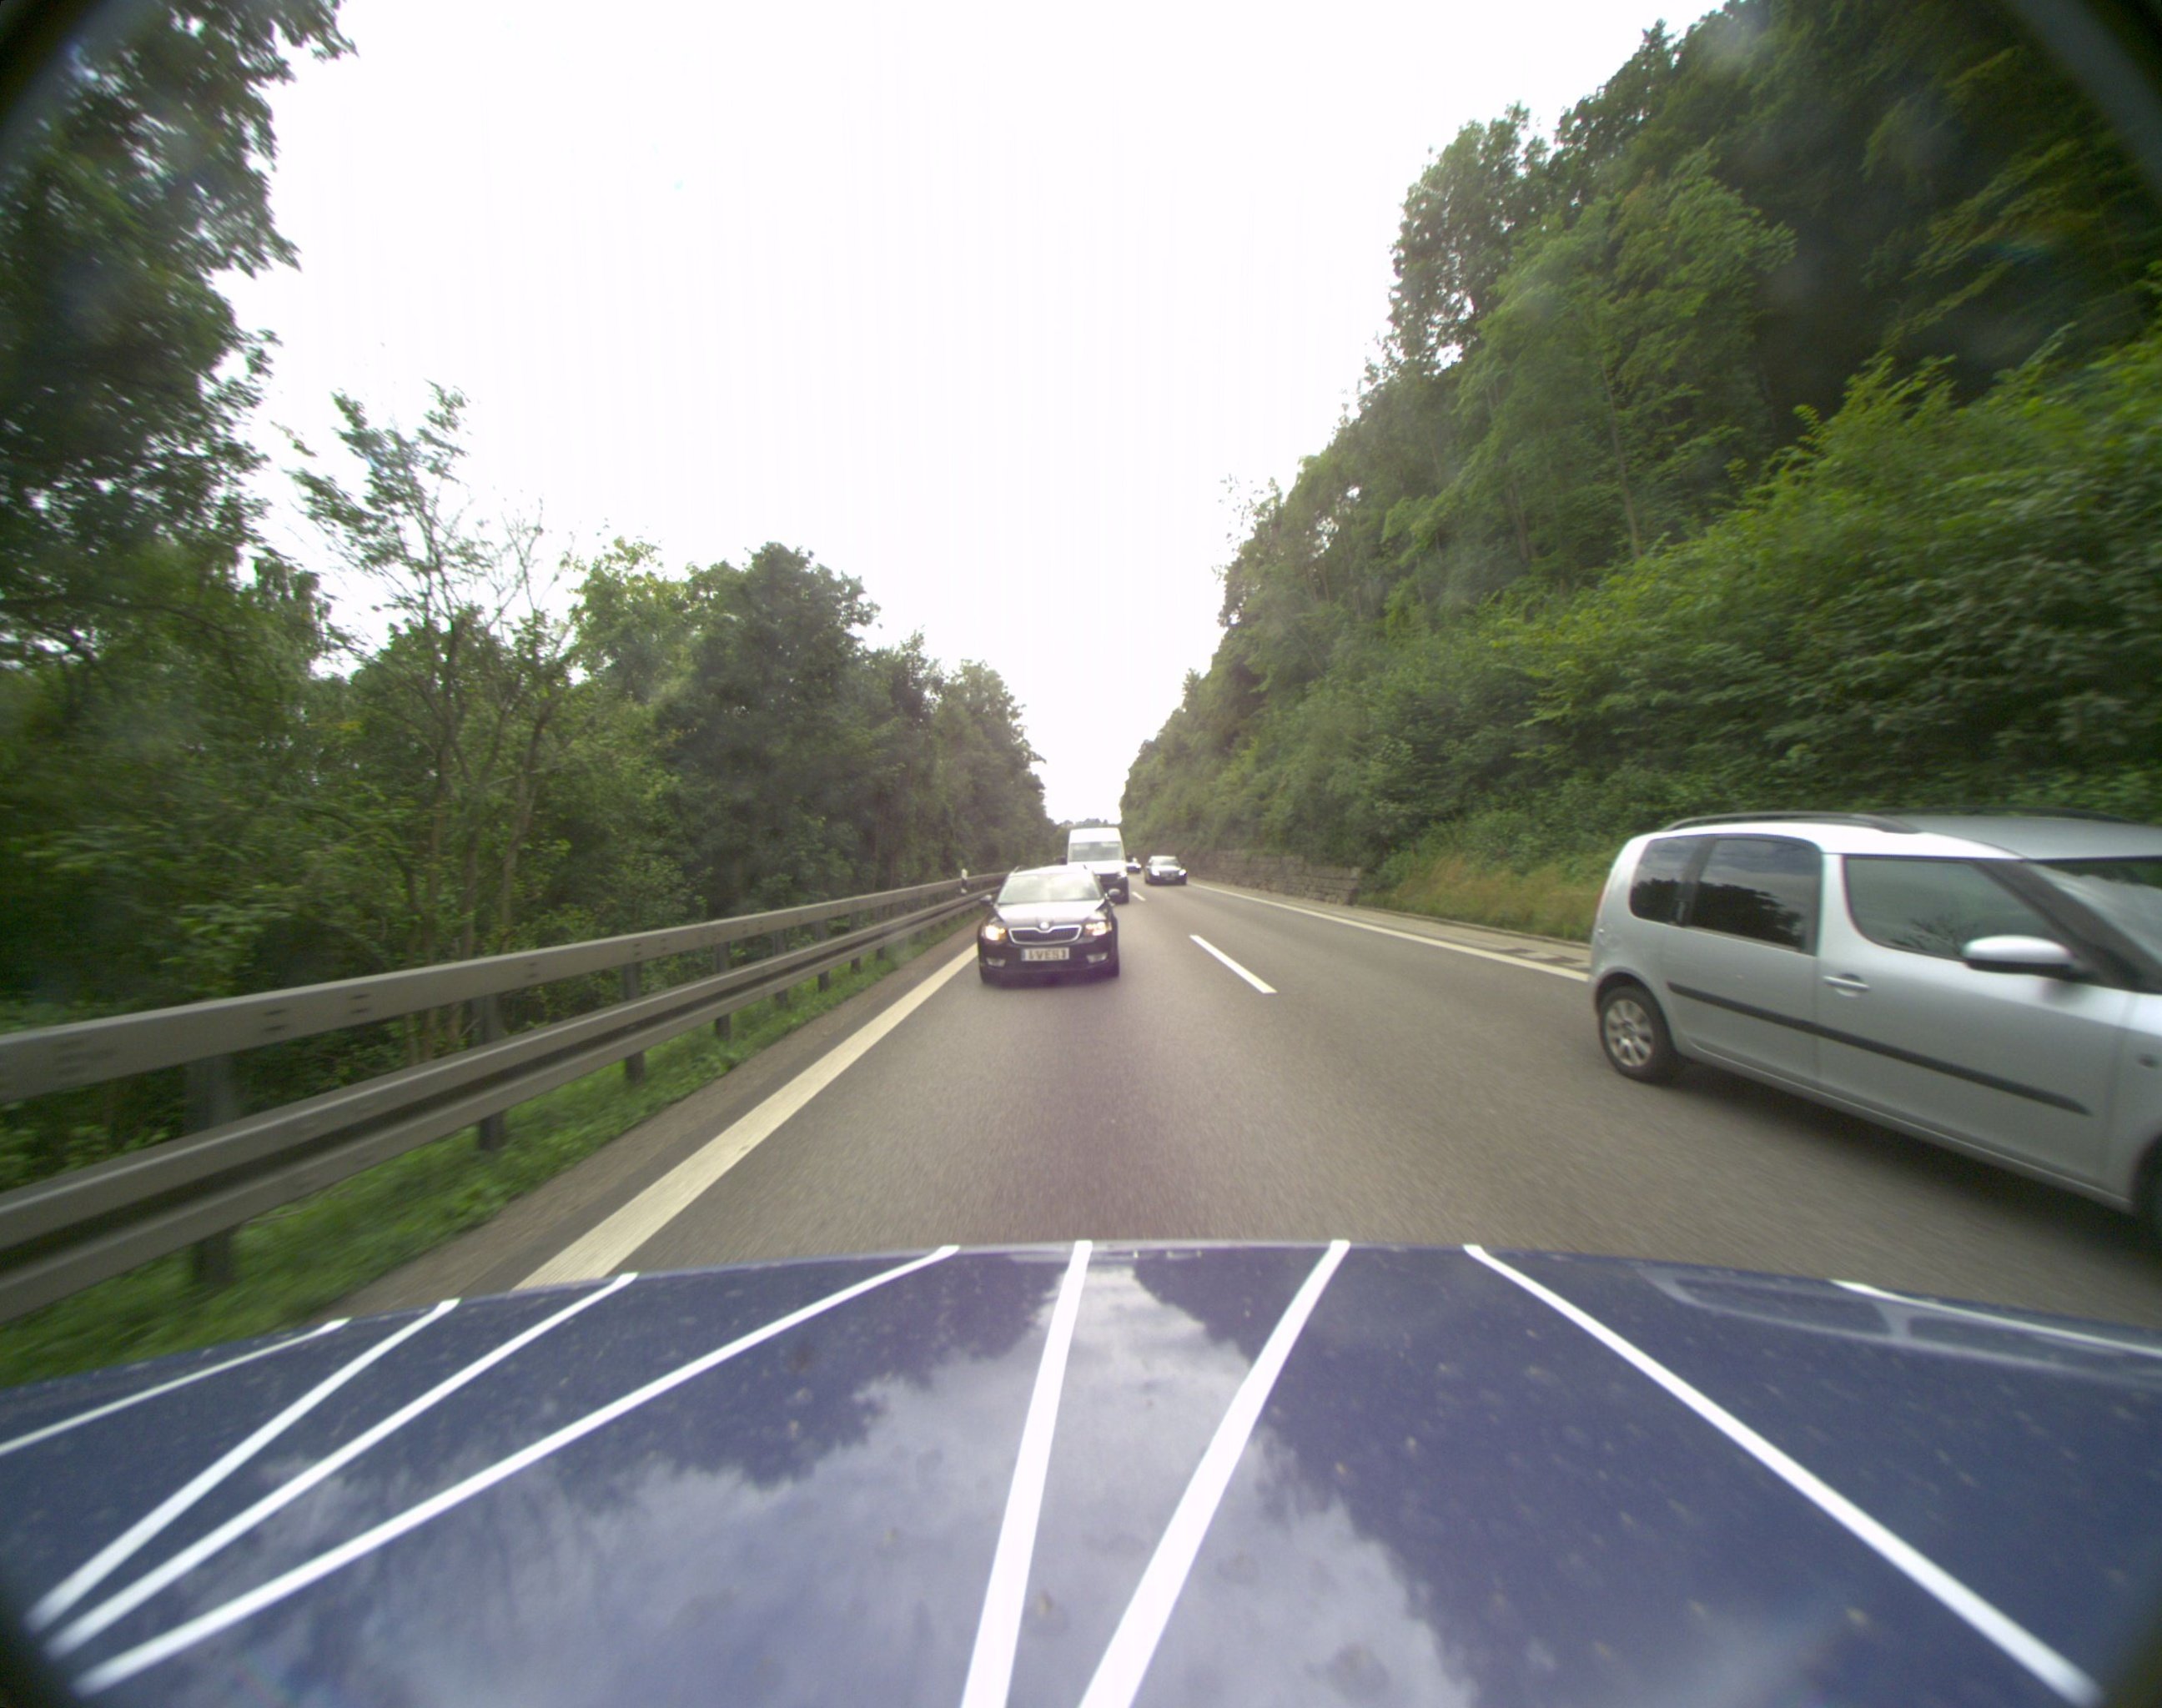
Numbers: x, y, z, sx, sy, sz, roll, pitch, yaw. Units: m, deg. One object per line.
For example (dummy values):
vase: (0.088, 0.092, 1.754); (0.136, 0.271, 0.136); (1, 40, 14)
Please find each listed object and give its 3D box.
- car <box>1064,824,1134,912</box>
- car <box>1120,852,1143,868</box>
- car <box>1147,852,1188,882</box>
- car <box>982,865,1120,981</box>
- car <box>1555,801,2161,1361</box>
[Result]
car: (0.561, 0.391, 24.866); (2.001, 2.545, 5.127); (1, 0, 1)
car: (4.671, 0.542, 70.437); (1.840, 1.460, 4.555); (1, 0, 0)
car: (4.483, 0.654, 40.093); (1.765, 1.455, 5.123); (1, 0, 2)
car: (-0.449, 0.943, 12.258); (1.751, 1.409, 4.400); (-3, 0, -1)
car: (4.138, 0.691, 3.143); (1.638, 1.716, 4.344); (0, 0, 0)
